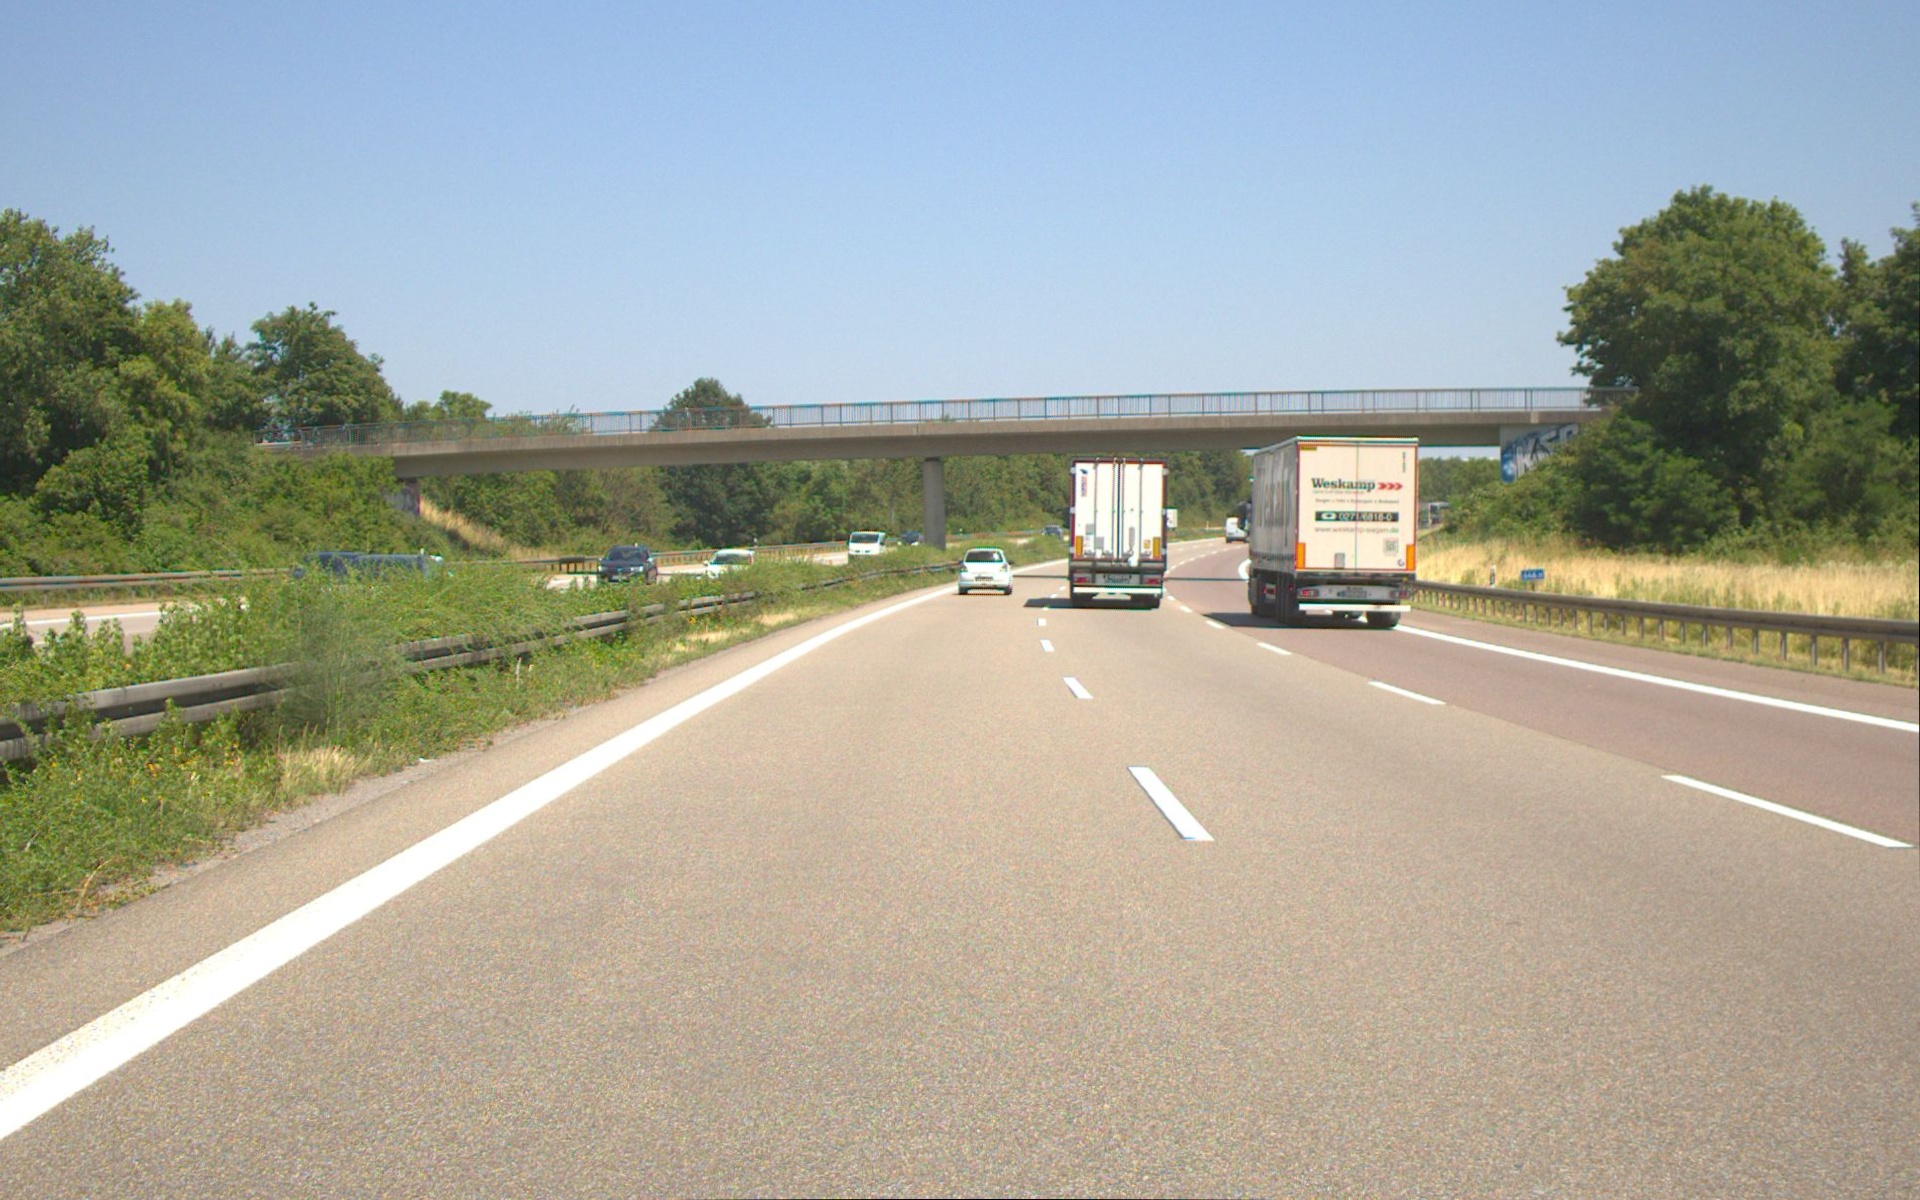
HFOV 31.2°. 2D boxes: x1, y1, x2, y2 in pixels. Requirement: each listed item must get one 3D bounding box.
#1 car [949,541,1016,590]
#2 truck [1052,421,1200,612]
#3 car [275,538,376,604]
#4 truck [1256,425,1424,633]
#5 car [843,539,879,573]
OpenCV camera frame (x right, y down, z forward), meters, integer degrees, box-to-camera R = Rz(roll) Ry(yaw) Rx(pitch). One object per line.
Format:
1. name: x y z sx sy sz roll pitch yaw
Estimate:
1. car: 0.767 -1.145 113.334 1.828 1.542 4.318 1 1 5
2. truck: 4.577 -2.419 98.583 3.666 5.001 16.018 1 2 1
3. car: -16.528 -0.779 89.760 1.782 1.655 4.658 0 1 0
4. truck: 8.557 -1.693 79.301 3.181 4.289 16.016 1 2 4
5. car: -5.972 -2.691 207.970 1.828 2.007 5.330 1 1 2
